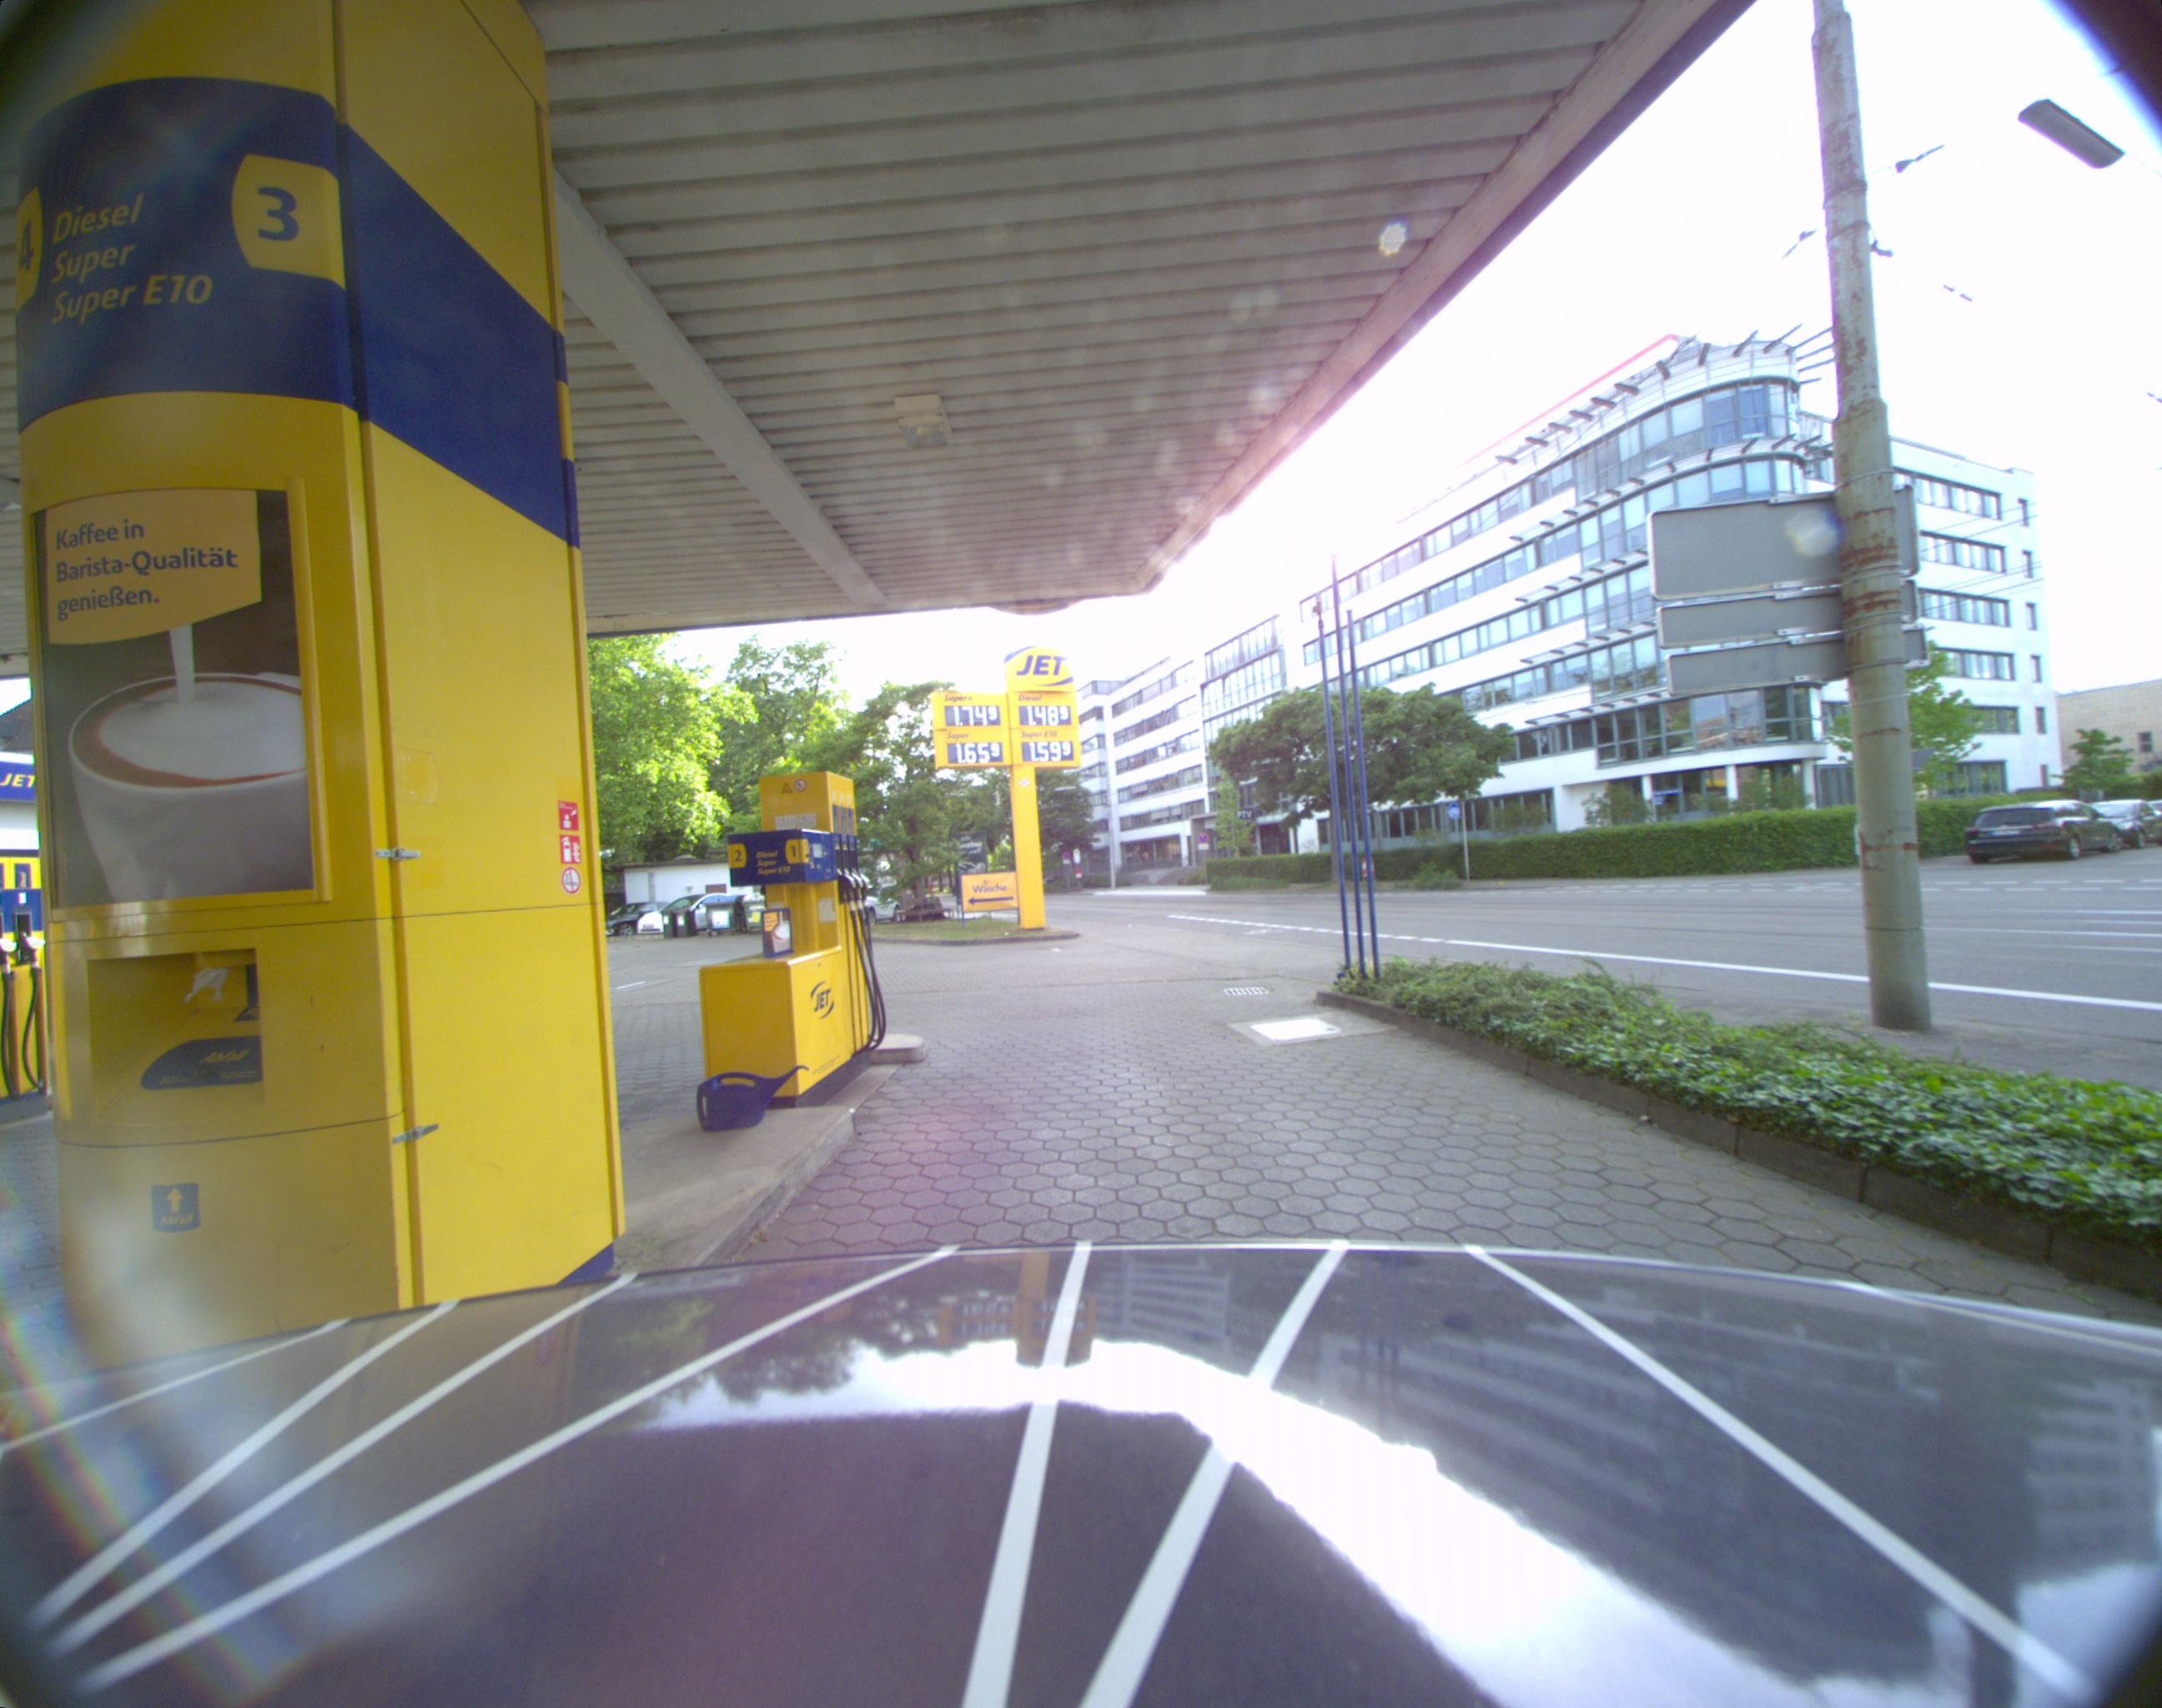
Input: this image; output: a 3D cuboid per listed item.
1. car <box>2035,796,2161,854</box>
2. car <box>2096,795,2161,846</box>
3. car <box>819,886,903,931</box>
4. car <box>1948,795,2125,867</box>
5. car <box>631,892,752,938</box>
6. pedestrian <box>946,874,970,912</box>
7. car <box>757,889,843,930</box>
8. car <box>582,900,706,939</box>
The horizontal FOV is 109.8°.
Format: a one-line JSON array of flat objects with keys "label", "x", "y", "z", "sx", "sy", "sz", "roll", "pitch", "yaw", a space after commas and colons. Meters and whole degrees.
[{"label": "car", "x": 32.490, "y": -0.939, "z": 24.040, "sx": 4.109, "sy": 1.544, "sz": 1.786, "roll": -4, "pitch": -1, "yaw": -23}, {"label": "car", "x": 37.150, "y": -1.233, "z": 26.078, "sx": 4.109, "sy": 1.544, "sz": 1.786, "roll": -4, "pitch": -1, "yaw": -23}, {"label": "car", "x": -8.687, "y": 2.114, "z": 30.382, "sx": 1.739, "sy": 1.500, "sz": 4.003, "roll": -4, "pitch": -2, "yaw": 6}, {"label": "car", "x": 27.375, "y": -0.648, "z": 21.769, "sx": 4.438, "sy": 1.603, "sz": 1.976, "roll": -5, "pitch": -1, "yaw": -23}, {"label": "car", "x": -15.361, "y": 2.381, "z": 30.256, "sx": 1.785, "sy": 1.514, "sz": 4.229, "roll": -4, "pitch": -3, "yaw": 17}, {"label": "pedestrian", "x": -6.689, "y": 2.105, "z": 41.380, "sx": 0.934, "sy": 2.001, "sz": 1.214, "roll": -2, "pitch": -1, "yaw": -24}, {"label": "car", "x": -11.803, "y": 2.320, "z": 32.244, "sx": 1.739, "sy": 1.500, "sz": 4.004, "roll": -4, "pitch": -2, "yaw": 6}, {"label": "car", "x": -17.747, "y": 2.629, "z": 31.072, "sx": 1.745, "sy": 1.269, "sz": 4.230, "roll": -5, "pitch": -3, "yaw": 19}]
